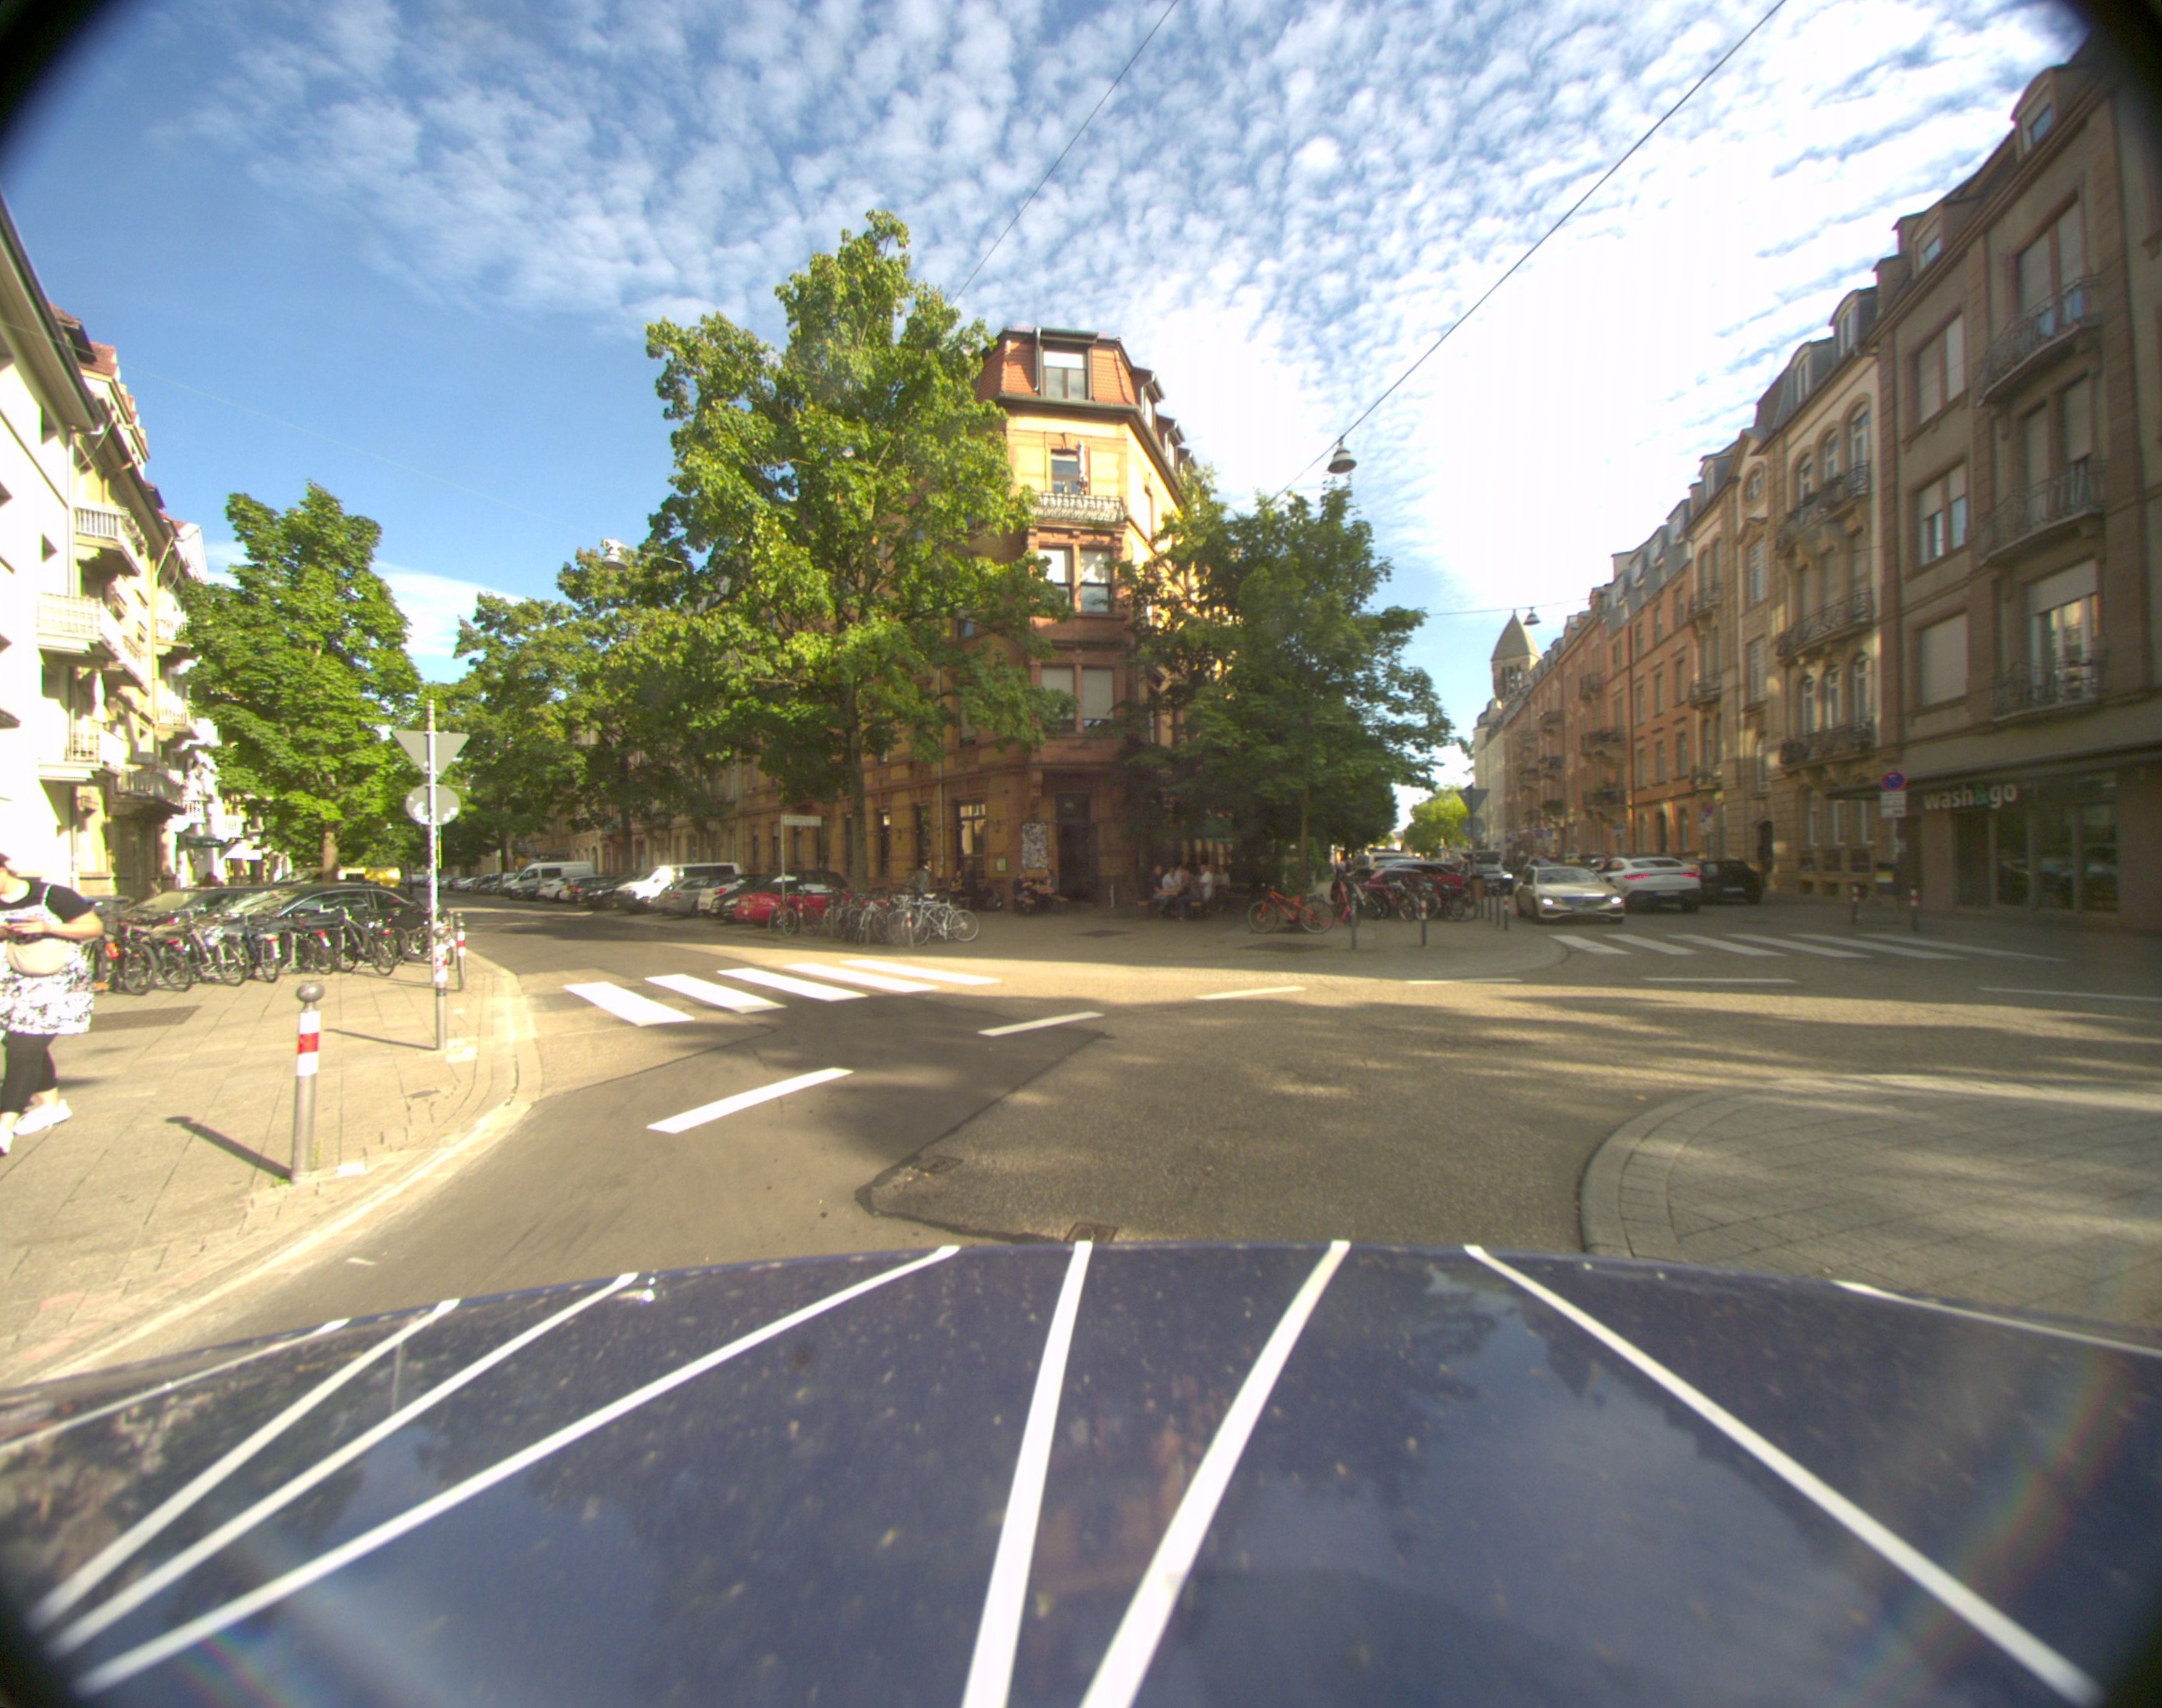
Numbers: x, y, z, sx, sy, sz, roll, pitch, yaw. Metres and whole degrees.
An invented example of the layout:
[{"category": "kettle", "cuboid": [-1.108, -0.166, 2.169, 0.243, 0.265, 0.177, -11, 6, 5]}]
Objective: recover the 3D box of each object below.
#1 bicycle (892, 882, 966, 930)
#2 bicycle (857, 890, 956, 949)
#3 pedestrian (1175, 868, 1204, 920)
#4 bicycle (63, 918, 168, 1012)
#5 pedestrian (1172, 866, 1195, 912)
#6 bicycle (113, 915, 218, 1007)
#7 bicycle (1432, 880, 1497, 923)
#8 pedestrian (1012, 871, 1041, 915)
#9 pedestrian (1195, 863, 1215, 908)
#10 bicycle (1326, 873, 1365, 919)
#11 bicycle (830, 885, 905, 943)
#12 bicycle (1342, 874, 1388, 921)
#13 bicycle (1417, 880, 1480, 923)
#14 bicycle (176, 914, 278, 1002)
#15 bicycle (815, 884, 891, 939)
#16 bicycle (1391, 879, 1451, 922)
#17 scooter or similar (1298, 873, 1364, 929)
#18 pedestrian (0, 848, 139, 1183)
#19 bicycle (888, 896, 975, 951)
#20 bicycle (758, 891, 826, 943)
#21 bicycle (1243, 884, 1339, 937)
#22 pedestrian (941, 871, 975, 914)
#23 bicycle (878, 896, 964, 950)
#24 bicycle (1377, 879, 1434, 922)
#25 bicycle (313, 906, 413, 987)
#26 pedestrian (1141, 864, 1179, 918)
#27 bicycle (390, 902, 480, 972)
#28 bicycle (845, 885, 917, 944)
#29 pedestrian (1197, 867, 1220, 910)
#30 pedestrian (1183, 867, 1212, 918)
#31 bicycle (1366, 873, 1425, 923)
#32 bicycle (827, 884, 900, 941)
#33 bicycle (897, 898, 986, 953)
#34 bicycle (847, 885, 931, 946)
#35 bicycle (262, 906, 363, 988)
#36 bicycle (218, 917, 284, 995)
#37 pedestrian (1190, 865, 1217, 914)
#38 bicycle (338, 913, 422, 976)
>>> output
[{"category": "bicycle", "cuboid": [-3.985, 1.347, 20.055, 1.803, 1.108, 0.598, -3, 2, -39]}, {"category": "bicycle", "cuboid": [-3.794, 1.403, 16.623, 2.048, 1.082, 0.447, -3, 2, -30]}, {"category": "pedestrian", "cuboid": [2.780, 1.006, 19.432, 0.728, 1.307, 0.521, 0, 0, 10]}, {"category": "bicycle", "cuboid": [-12.634, 1.414, 9.936, 1.694, 1.079, 0.422, 0, 0, 23]}, {"category": "pedestrian", "cuboid": [2.986, 1.023, 22.228, 0.548, 1.293, 0.621, -1, 1, -2]}, {"category": "bicycle", "cuboid": [-12.274, 1.405, 10.181, 1.694, 1.079, 0.422, 0, 0, 23]}, {"category": "bicycle", "cuboid": [9.945, 1.222, 19.780, 0.472, 0.979, 1.863, 1, 1, -9]}, {"category": "pedestrian", "cuboid": [-1.616, 1.152, 22.579, 0.642, 1.218, 0.510, -3, 3, -36]}, {"category": "pedestrian", "cuboid": [3.732, 0.954, 22.927, 0.466, 1.319, 0.621, -1, 1, -2]}, {"category": "bicycle", "cuboid": [6.806, 1.056, 19.612, 0.434, 1.094, 1.675, 1, 1, 2]}, {"category": "bicycle", "cuboid": [-5.036, 1.393, 18.008, 0.447, 1.195, 1.715, 0, 2, 39]}, {"category": "bicycle", "cuboid": [7.330, 1.095, 19.655, 0.475, 1.094, 1.674, 1, 1, -3]}, {"category": "bicycle", "cuboid": [9.497, 1.206, 19.725, 0.472, 0.979, 1.863, 1, 1, -9]}, {"category": "bicycle", "cuboid": [-11.901, 1.416, 10.584, 1.694, 1.079, 0.422, 0, 0, 23]}, {"category": "bicycle", "cuboid": [-5.642, 1.390, 18.838, 1.715, 1.195, 0.447, -3, 2, -39]}, {"category": "bicycle", "cuboid": [8.823, 1.189, 19.796, 0.472, 0.979, 1.863, 1, 1, -9]}, {"category": "scooter or similar", "cuboid": [5.636, 1.037, 17.123, 1.289, 1.203, 0.557, 0, -1, 39]}, {"category": "pedestrian", "cuboid": [-5.983, 0.850, 4.158, 0.614, 1.743, 0.842, -1, 0, -9]}, {"category": "bicycle", "cuboid": [-3.131, 1.445, 15.992, 1.715, 0.981, 0.447, -3, 2, -30]}, {"category": "bicycle", "cuboid": [-7.085, 1.496, 18.541, 0.583, 1.090, 2.493, -6, 4, -42]}, {"category": "bicycle", "cuboid": [4.337, 1.149, 15.695, 1.853, 1.029, 0.685, -1, 0, 21]}, {"category": "pedestrian", "cuboid": [-3.910, 1.210, 24.151, 0.627, 1.277, 0.770, -2, 2, 45]}, {"category": "bicycle", "cuboid": [-3.423, 1.453, 16.321, 1.715, 0.981, 0.447, -3, 2, -30]}, {"category": "bicycle", "cuboid": [8.312, 1.175, 19.543, 0.418, 0.979, 1.837, 1, 1, -9]}, {"category": "bicycle", "cuboid": [-11.247, 1.416, 11.891, 1.849, 1.169, 0.414, -1, -1, 22]}, {"category": "pedestrian", "cuboid": [2.078, 0.969, 20.018, 0.671, 1.371, 0.715, -2, 1, -33]}, {"category": "bicycle", "cuboid": [-11.501, 1.457, 13.520, 1.849, 1.169, 0.414, -1, -1, 22]}, {"category": "bicycle", "cuboid": [-4.609, 1.379, 17.651, 0.447, 1.195, 1.715, -1, 2, 33]}, {"category": "pedestrian", "cuboid": [3.696, 0.994, 22.034, 0.548, 1.225, 0.621, -1, 1, -2]}, {"category": "pedestrian", "cuboid": [3.055, 0.996, 19.917, 0.728, 1.307, 0.521, 0, 0, 10]}, {"category": "bicycle", "cuboid": [7.929, 1.092, 19.223, 0.475, 1.136, 1.837, 1, 1, -9]}, {"category": "bicycle", "cuboid": [-5.259, 1.392, 18.449, 0.447, 1.195, 1.715, 0, 2, 39]}, {"category": "bicycle", "cuboid": [-2.852, 1.447, 15.632, 1.715, 0.964, 0.447, -3, 2, -30]}, {"category": "bicycle", "cuboid": [-4.280, 1.354, 17.005, 1.715, 1.195, 0.447, -3, 2, -30]}, {"category": "bicycle", "cuboid": [-11.789, 1.393, 11.646, 1.849, 1.169, 0.414, -1, -1, 22]}, {"category": "bicycle", "cuboid": [-12.019, 1.447, 10.990, 1.498, 1.012, 0.414, -1, -1, 33]}, {"category": "pedestrian", "cuboid": [3.313, 0.954, 20.527, 0.728, 1.307, 0.608, 0, 0, 10]}, {"category": "bicycle", "cuboid": [-11.942, 1.525, 12.944, 1.420, 0.995, 0.494, -1, -1, 22]}]
